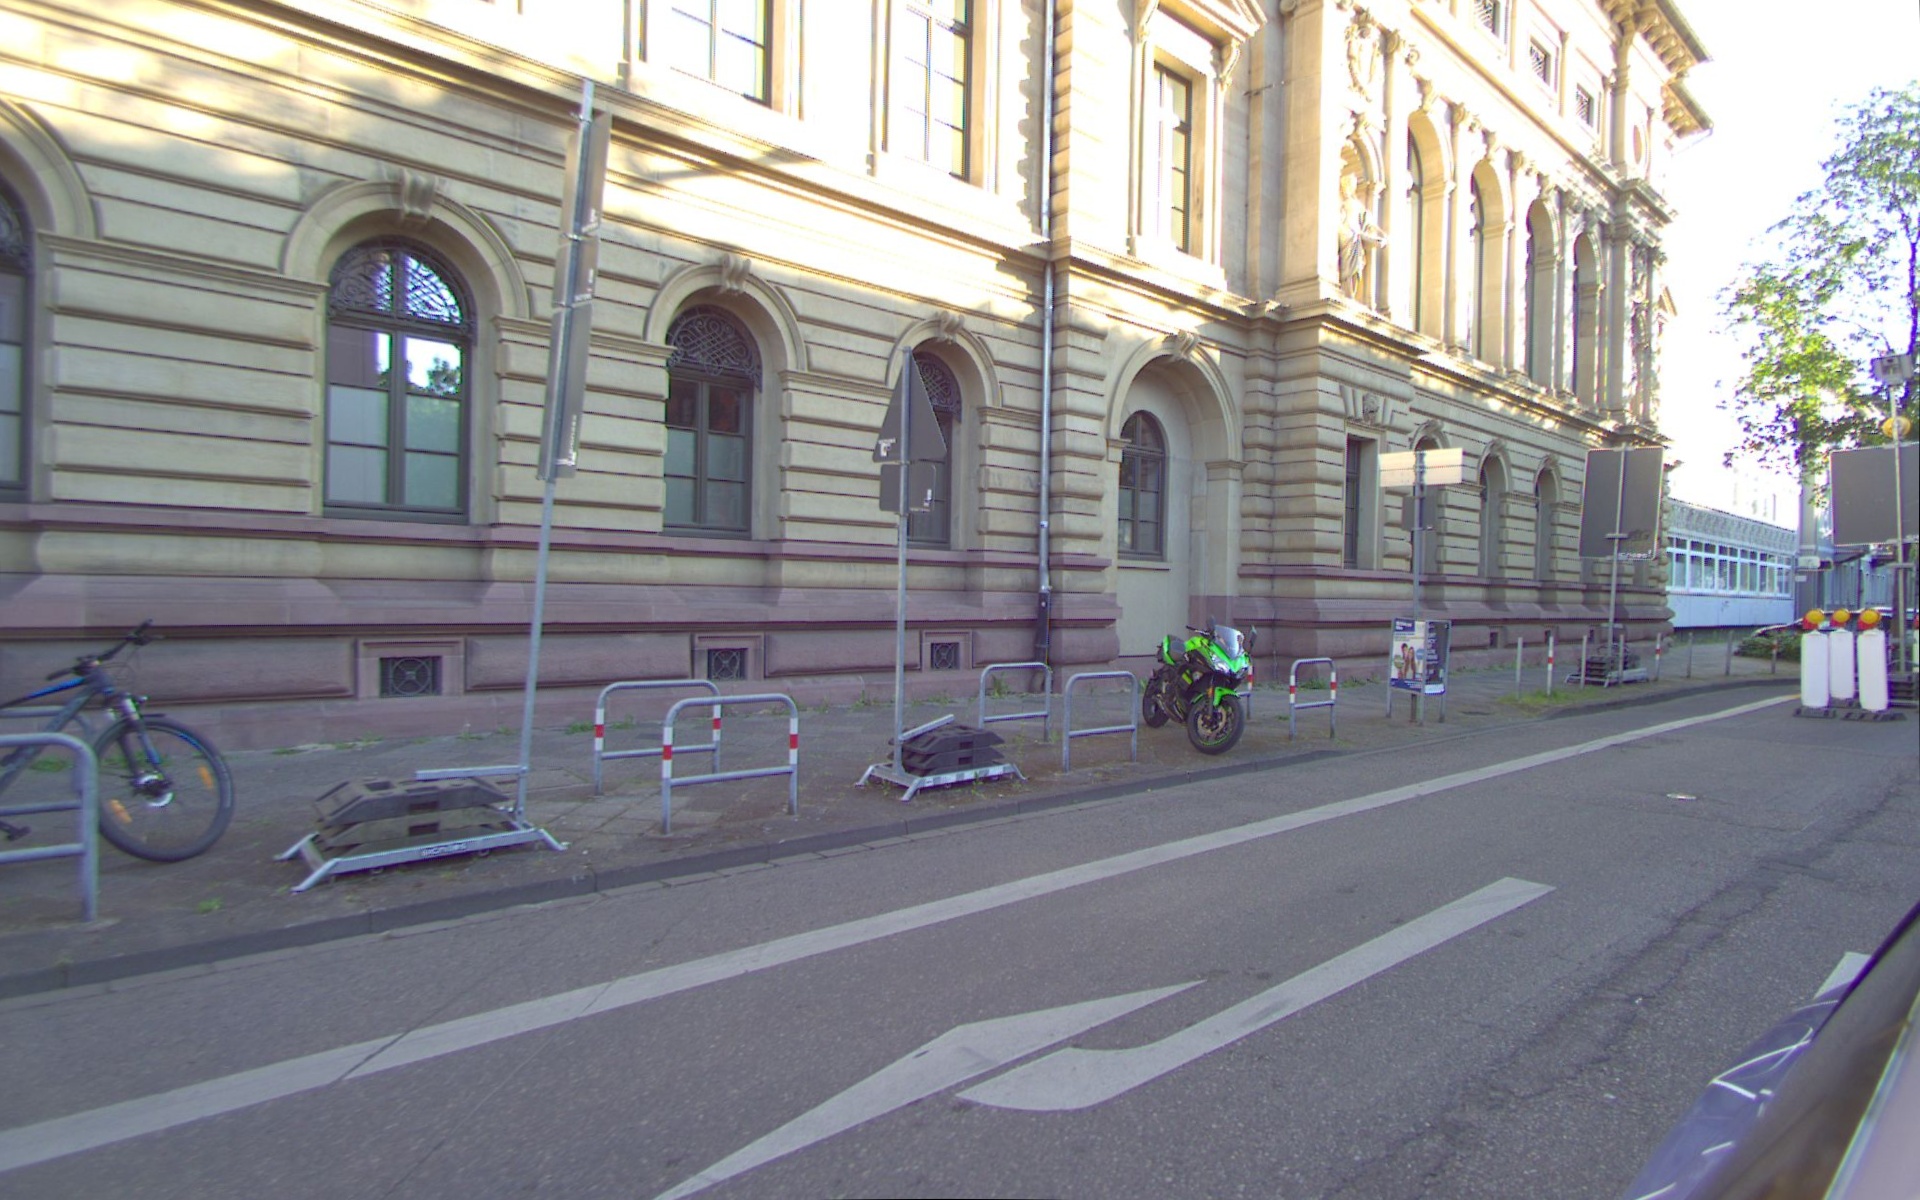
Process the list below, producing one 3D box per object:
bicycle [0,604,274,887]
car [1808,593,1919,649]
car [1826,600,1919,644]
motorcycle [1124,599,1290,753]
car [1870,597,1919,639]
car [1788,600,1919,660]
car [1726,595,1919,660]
[{"bbox_3d":[-4.336,0.623,4.613,1.910,1.148,0.829,1,3,-41],"label":"bicycle"},{"bbox_3d":[32.076,0.738,34.680,2.020,1.662,4.364,1,3,-43],"label":"car"},{"bbox_3d":[36.212,0.860,38.782,1.855,1.512,4.363,1,3,-43],"label":"car"},{"bbox_3d":[2.334,0.670,9.880,0.695,1.230,2.109,2,3,-11],"label":"motorcycle"},{"bbox_3d":[40.381,0.832,41.481,1.704,1.644,4.364,1,3,-43],"label":"car"},{"bbox_3d":[27.624,0.898,30.105,1.643,1.513,4.367,0,4,-41],"label":"car"},{"bbox_3d":[25.007,0.735,29.202,1.804,1.482,4.362,0,4,-44],"label":"car"}]
